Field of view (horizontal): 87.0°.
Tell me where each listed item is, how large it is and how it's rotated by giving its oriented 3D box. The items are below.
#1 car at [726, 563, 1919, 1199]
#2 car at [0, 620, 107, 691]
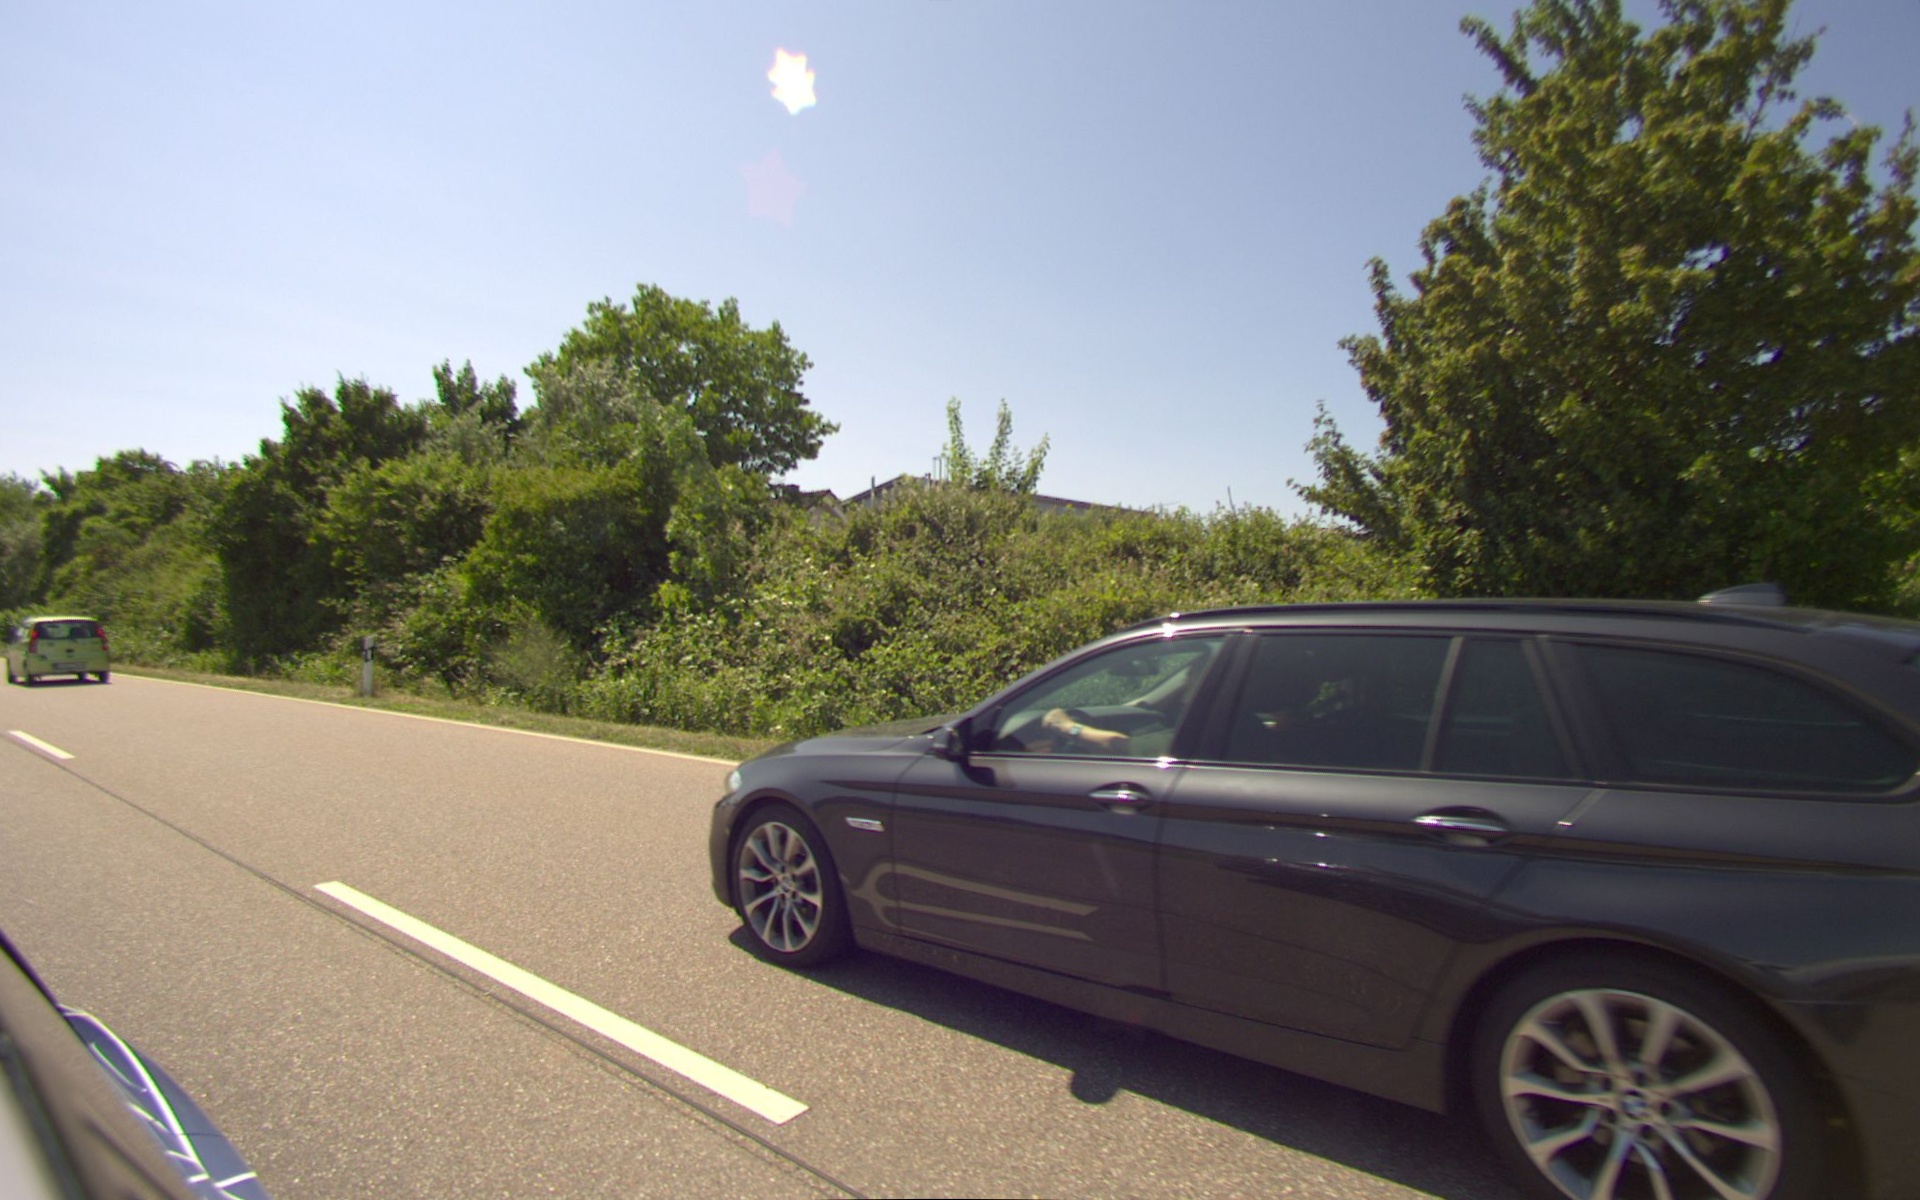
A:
[{"bbox_3d":[1.342,0.690,3.373,4.529,1.461,1.782,-2,-1,40],"label":"car"},{"bbox_3d":[-21.305,1.240,23.711,3.831,1.507,1.481,-1,-1,42],"label":"car"}]
